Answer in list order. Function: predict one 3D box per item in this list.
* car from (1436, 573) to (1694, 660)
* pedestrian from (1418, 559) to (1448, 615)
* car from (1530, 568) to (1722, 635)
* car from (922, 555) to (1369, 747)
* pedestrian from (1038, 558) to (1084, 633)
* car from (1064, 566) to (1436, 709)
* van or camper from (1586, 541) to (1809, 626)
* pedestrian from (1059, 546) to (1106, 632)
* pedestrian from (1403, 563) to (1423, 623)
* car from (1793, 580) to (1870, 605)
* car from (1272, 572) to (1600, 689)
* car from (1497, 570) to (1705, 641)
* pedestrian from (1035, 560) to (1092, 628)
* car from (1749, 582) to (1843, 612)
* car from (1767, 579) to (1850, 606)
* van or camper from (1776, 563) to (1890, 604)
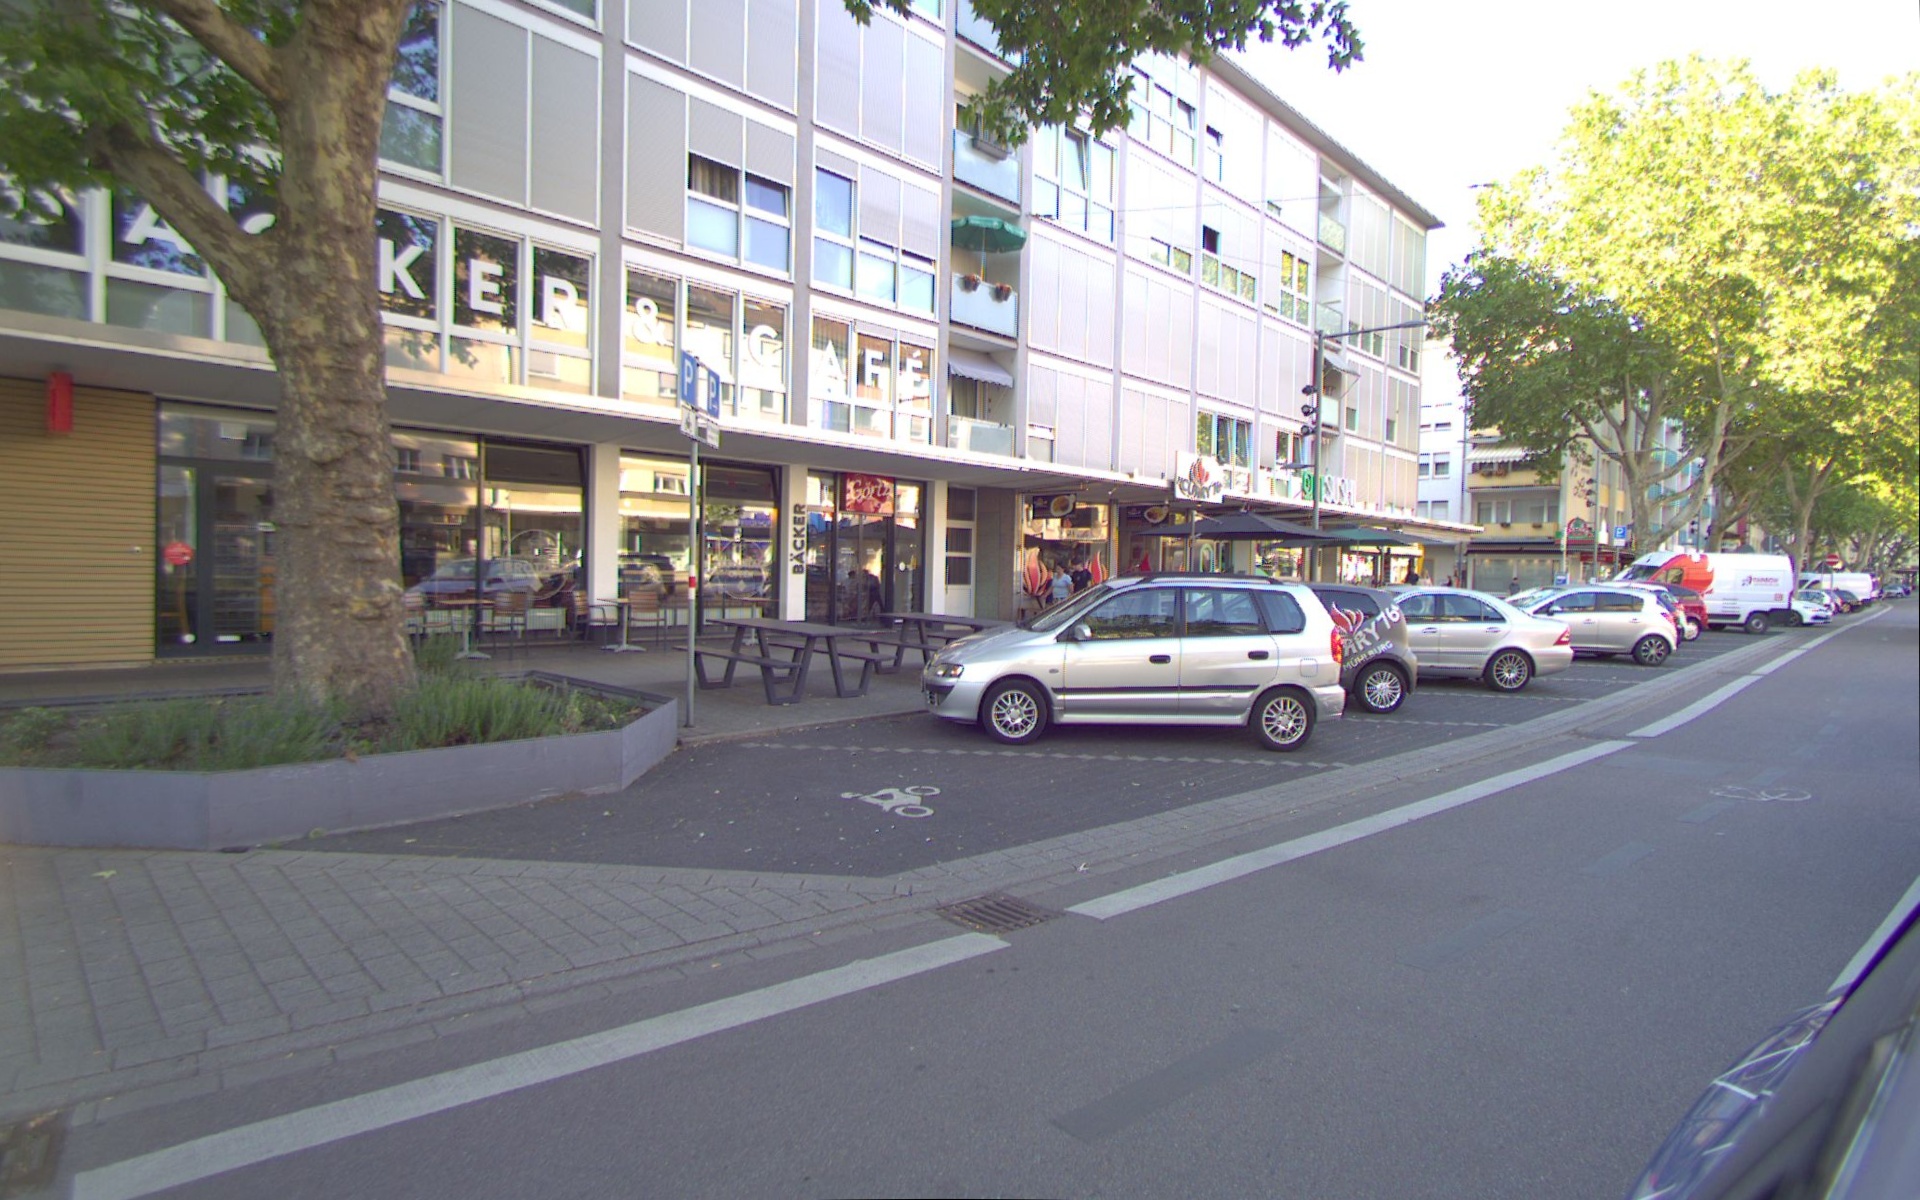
[{"bbox_3d":[11.733,0.279,19.856,3.929,1.453,1.659,2,3,5],"label":"car"},{"bbox_3d":[13.992,-0.383,29.951,0.537,1.610,0.676,5,4,44],"label":"pedestrian"},{"bbox_3d":[17.885,0.006,27.337,3.929,1.582,1.659,2,3,5],"label":"car"},{"bbox_3d":[1.624,0.428,9.881,3.921,1.626,1.811,1,2,-3],"label":"car"},{"bbox_3d":[2.008,-0.097,20.081,0.537,1.417,0.676,5,4,44],"label":"pedestrian"},{"bbox_3d":[3.379,0.404,12.338,3.921,1.525,1.811,1,2,-3],"label":"car"},{"bbox_3d":[23.315,-0.555,32.188,5.366,2.499,1.998,1,2,5],"label":"van or camper"},{"bbox_3d":[2.366,-0.217,19.498,0.537,1.610,0.676,5,4,44],"label":"pedestrian"},{"bbox_3d":[15.387,-0.240,34.349,0.547,2.039,0.571,0,0,31],"label":"pedestrian"},{"bbox_3d":[53.817,-0.493,62.528,3.271,1.363,1.530,2,3,5],"label":"car"},{"bbox_3d":[6.812,0.399,14.807,3.926,1.453,1.660,2,3,2],"label":"car"},{"bbox_3d":[15.739,0.102,25.013,3.929,1.541,1.659,2,3,5],"label":"car"},{"bbox_3d":[2.188,-0.139,21.422,0.945,1.379,0.750,0,2,-41],"label":"pedestrian"},{"bbox_3d":[41.866,-0.165,50.731,3.271,1.363,1.530,2,3,5],"label":"car"},{"bbox_3d":[48.443,-0.419,57.845,3.271,1.363,1.530,2,3,5],"label":"car"},{"bbox_3d":[56.111,-1.100,65.138,5.363,2.499,1.999,1,2,3],"label":"van or camper"}]
